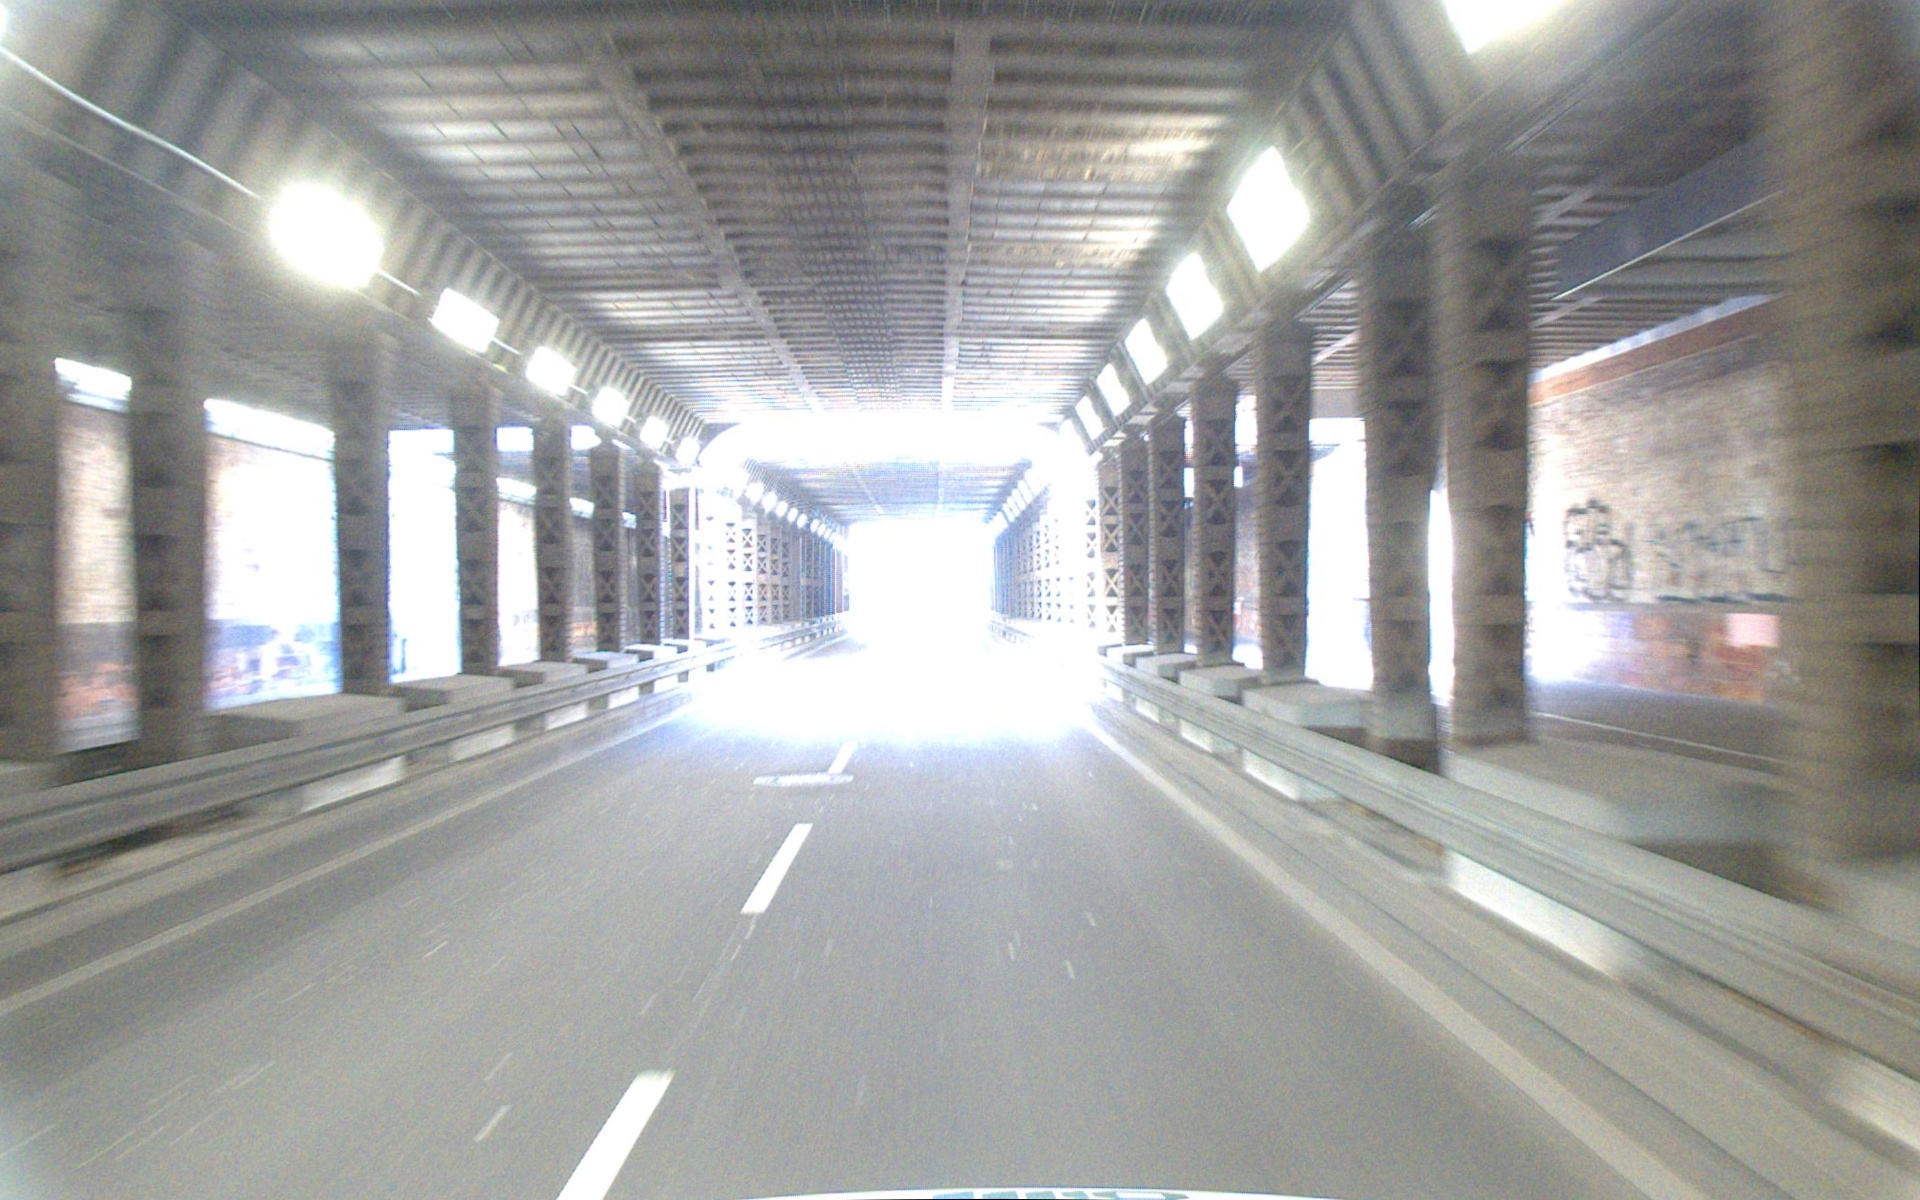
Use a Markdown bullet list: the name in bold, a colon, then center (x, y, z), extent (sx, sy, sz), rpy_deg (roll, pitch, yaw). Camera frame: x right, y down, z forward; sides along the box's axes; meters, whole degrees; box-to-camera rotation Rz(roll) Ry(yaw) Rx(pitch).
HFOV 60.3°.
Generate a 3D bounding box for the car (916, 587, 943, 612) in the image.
- **car**: center (-2.263, -0.041, 123.439), extent (1.953, 1.815, 3.999), rpy_deg (-1, 0, -1)

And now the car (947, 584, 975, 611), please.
- **car**: center (0.051, -0.175, 116.931), extent (1.953, 1.815, 3.999), rpy_deg (-1, 0, -1)

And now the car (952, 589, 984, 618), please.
- **car**: center (0.507, 0.216, 106.890), extent (1.953, 1.815, 3.999), rpy_deg (-1, 0, -1)
